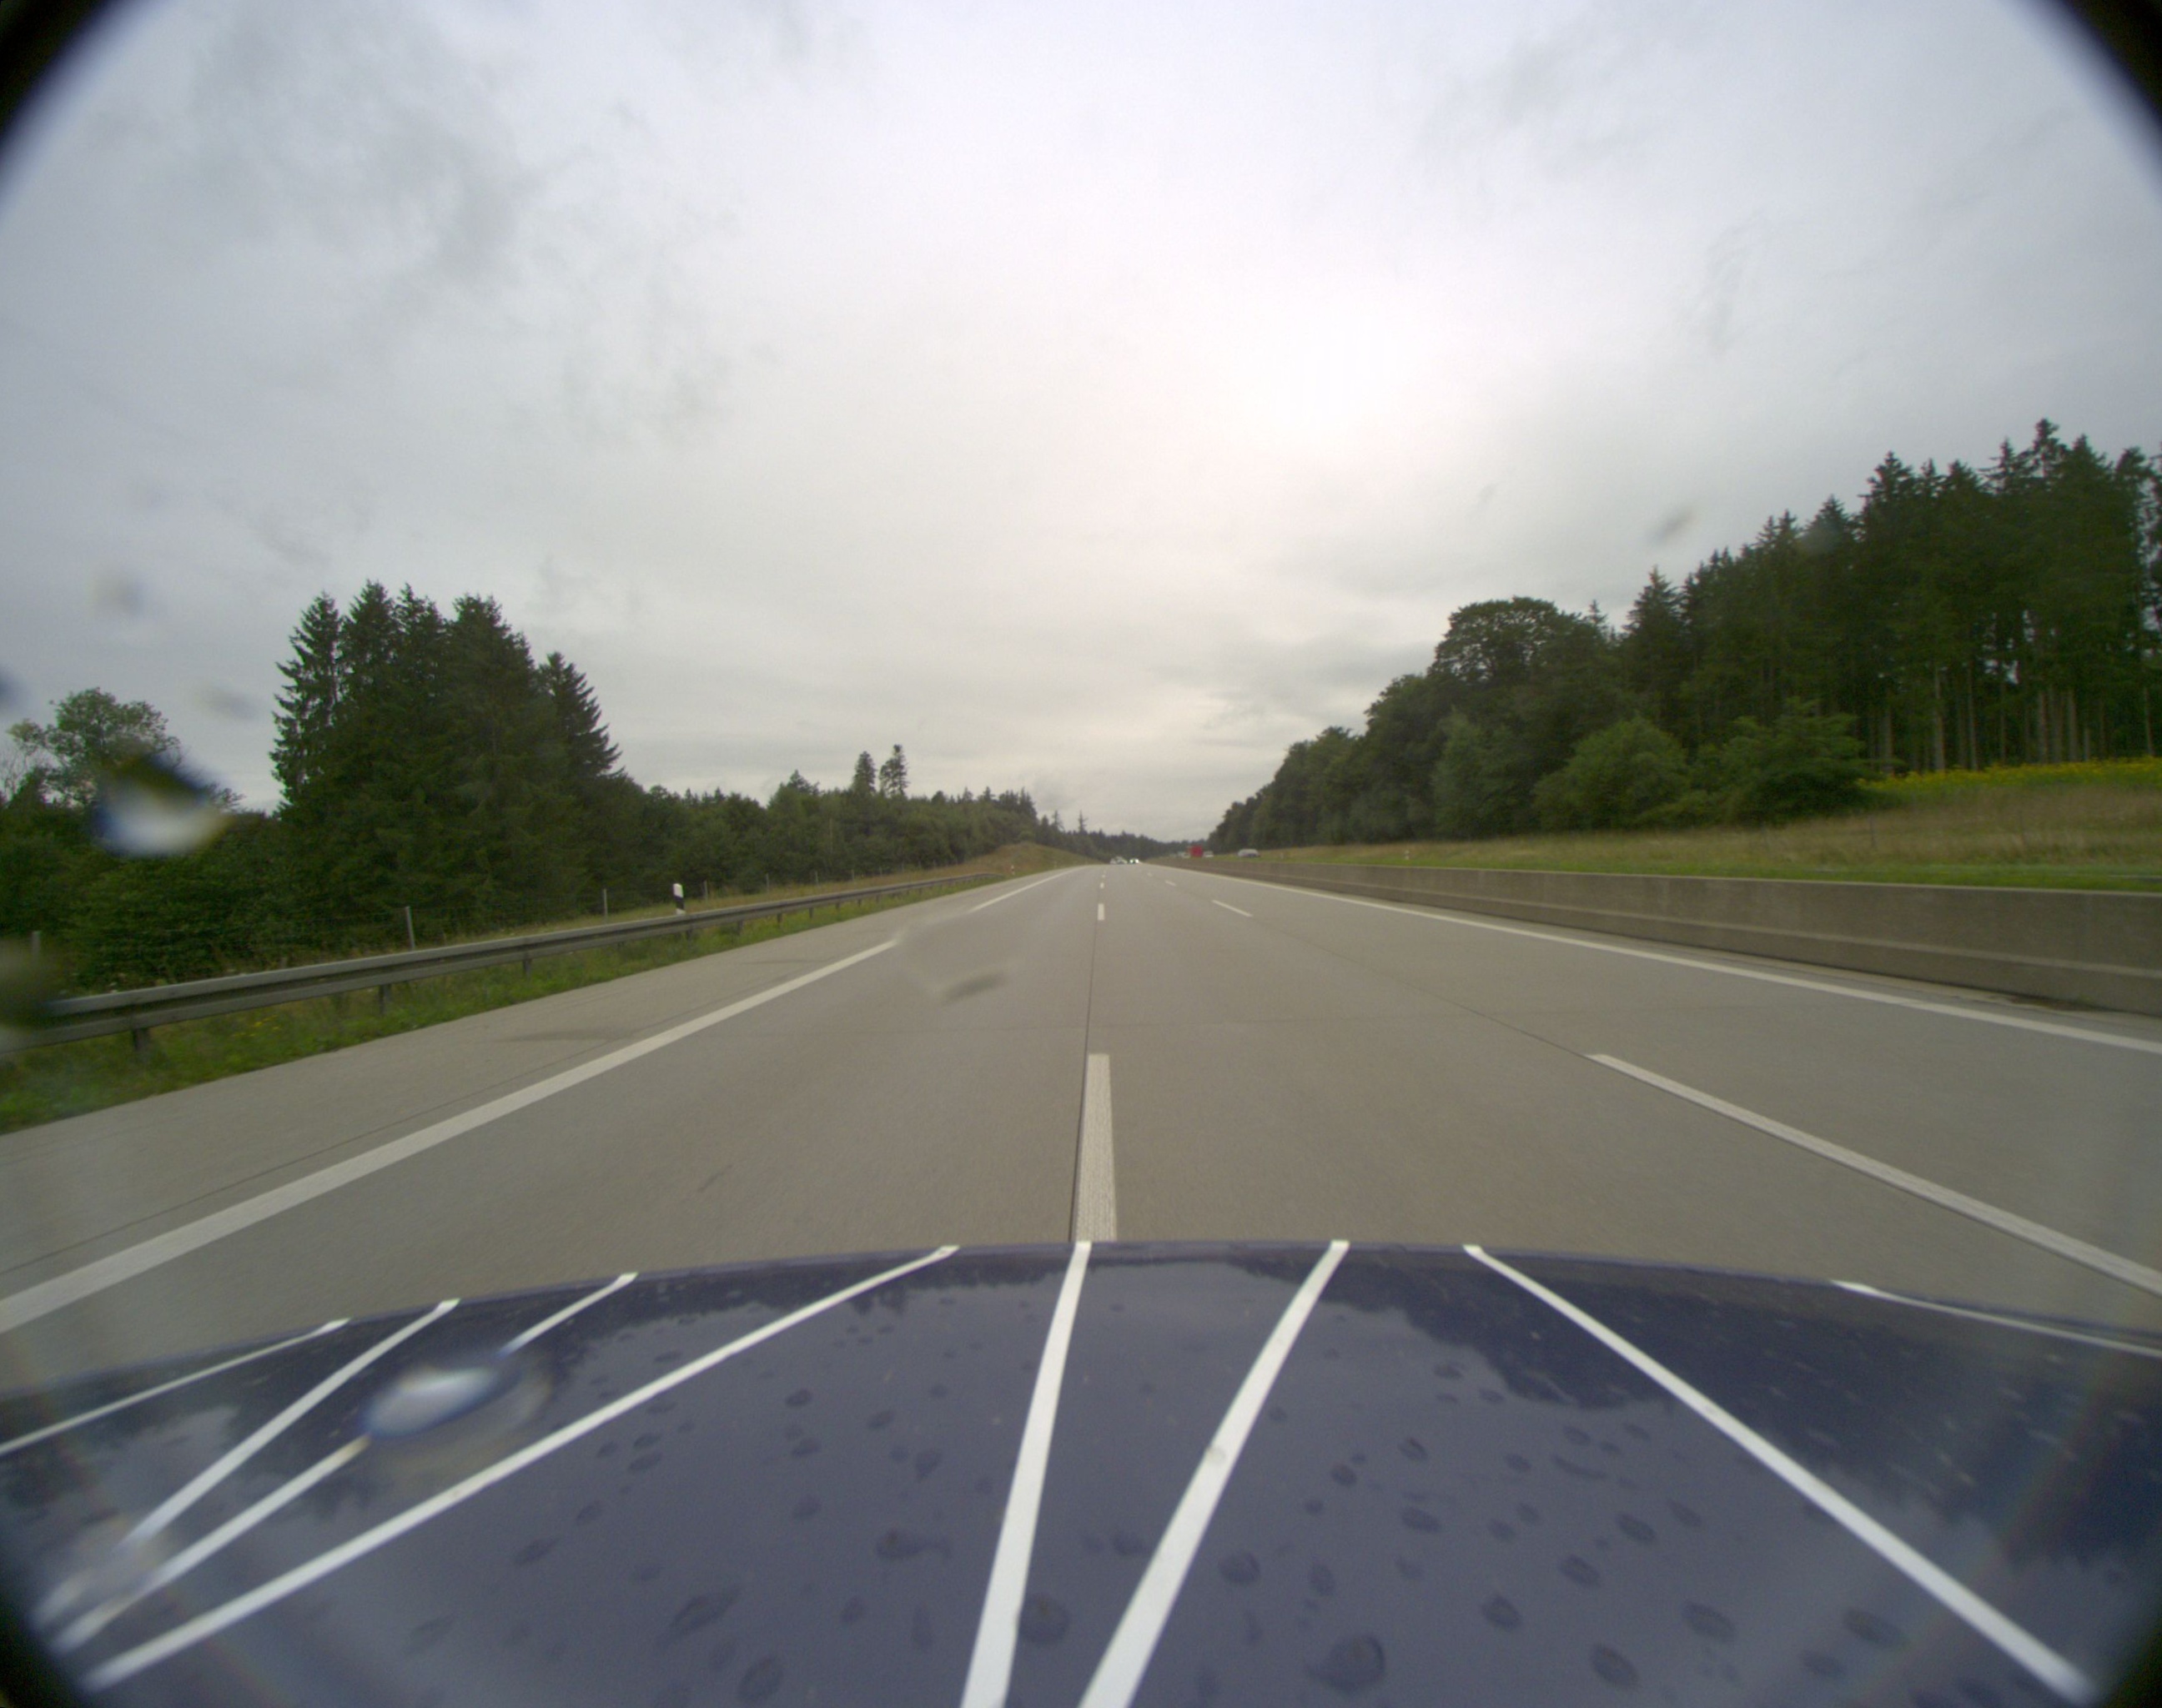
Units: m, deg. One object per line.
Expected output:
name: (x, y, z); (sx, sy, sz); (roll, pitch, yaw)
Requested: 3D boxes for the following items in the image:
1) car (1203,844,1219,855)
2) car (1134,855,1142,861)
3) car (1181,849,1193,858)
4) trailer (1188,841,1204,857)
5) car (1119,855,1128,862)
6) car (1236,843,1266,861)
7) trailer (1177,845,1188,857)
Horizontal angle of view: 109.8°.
car: (22.129, -0.757, 129.531); (1.998, 1.789, 4.391); (-3, 0, 1)
car: (15.809, 1.136, 210.816); (1.766, 1.455, 4.002); (-2, -2, 2)
car: (24.832, -0.126, 177.578); (1.998, 1.944, 5.627); (-2, 0, 1)
trailer: (30.723, -1.204, 202.754); (2.614, 3.920, 14.382); (-2, 0, 3)
car: (11.699, 1.242, 209.050); (2.214, 2.001, 4.834); (-3, -1, 0)
car: (15.807, -0.171, 70.779); (1.889, 1.578, 4.000); (-3, 0, 1)
trailer: (34.202, -1.000, 255.089); (2.810, 3.678, 9.015); (-2, 0, 3)
